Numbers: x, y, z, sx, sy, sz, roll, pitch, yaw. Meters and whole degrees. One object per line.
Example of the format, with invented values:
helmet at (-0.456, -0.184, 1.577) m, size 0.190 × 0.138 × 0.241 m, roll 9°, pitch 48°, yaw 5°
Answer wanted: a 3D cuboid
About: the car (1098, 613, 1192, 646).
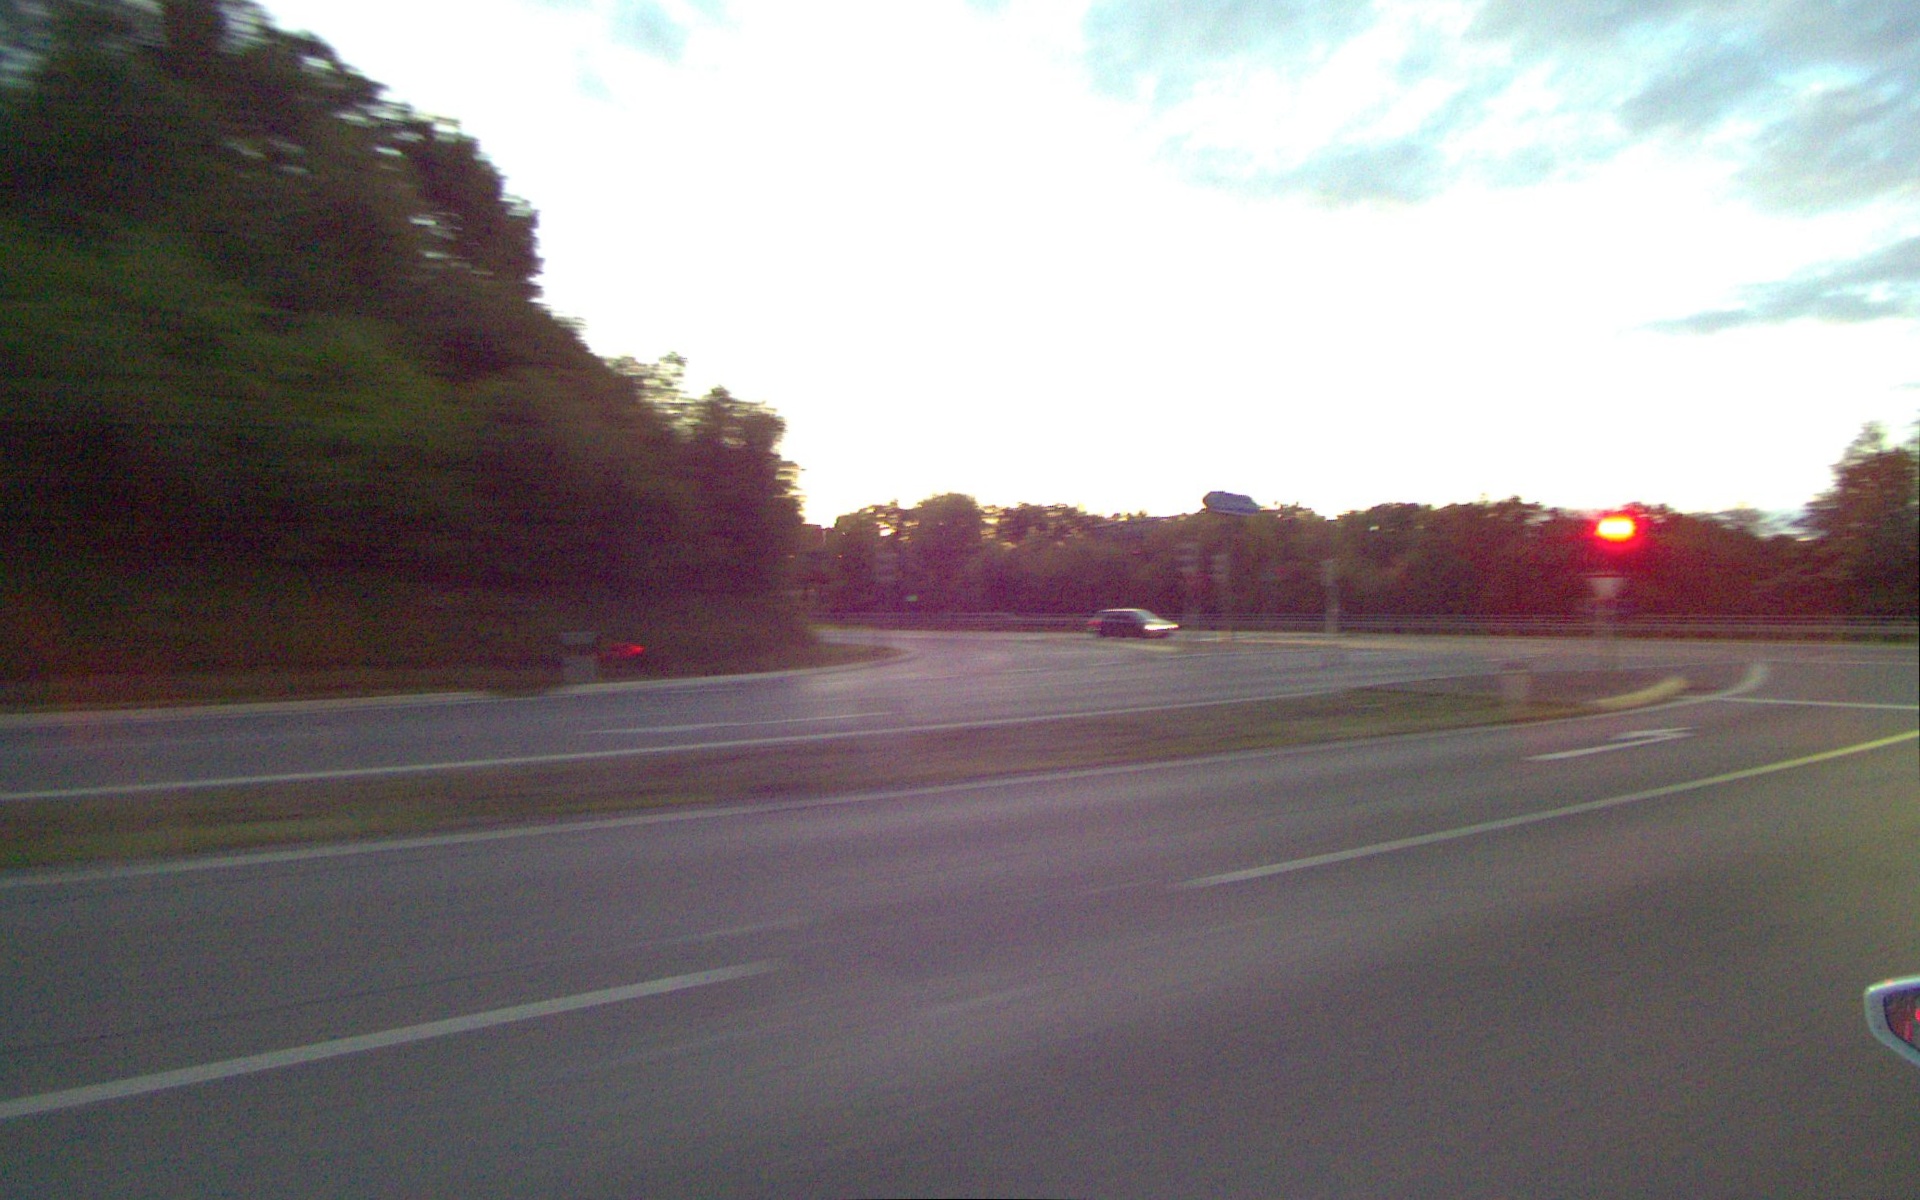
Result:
car at (8.714, 1.410, 47.423) m, size 3.945 × 1.472 × 1.989 m, roll -1°, pitch -3°, yaw 43°
